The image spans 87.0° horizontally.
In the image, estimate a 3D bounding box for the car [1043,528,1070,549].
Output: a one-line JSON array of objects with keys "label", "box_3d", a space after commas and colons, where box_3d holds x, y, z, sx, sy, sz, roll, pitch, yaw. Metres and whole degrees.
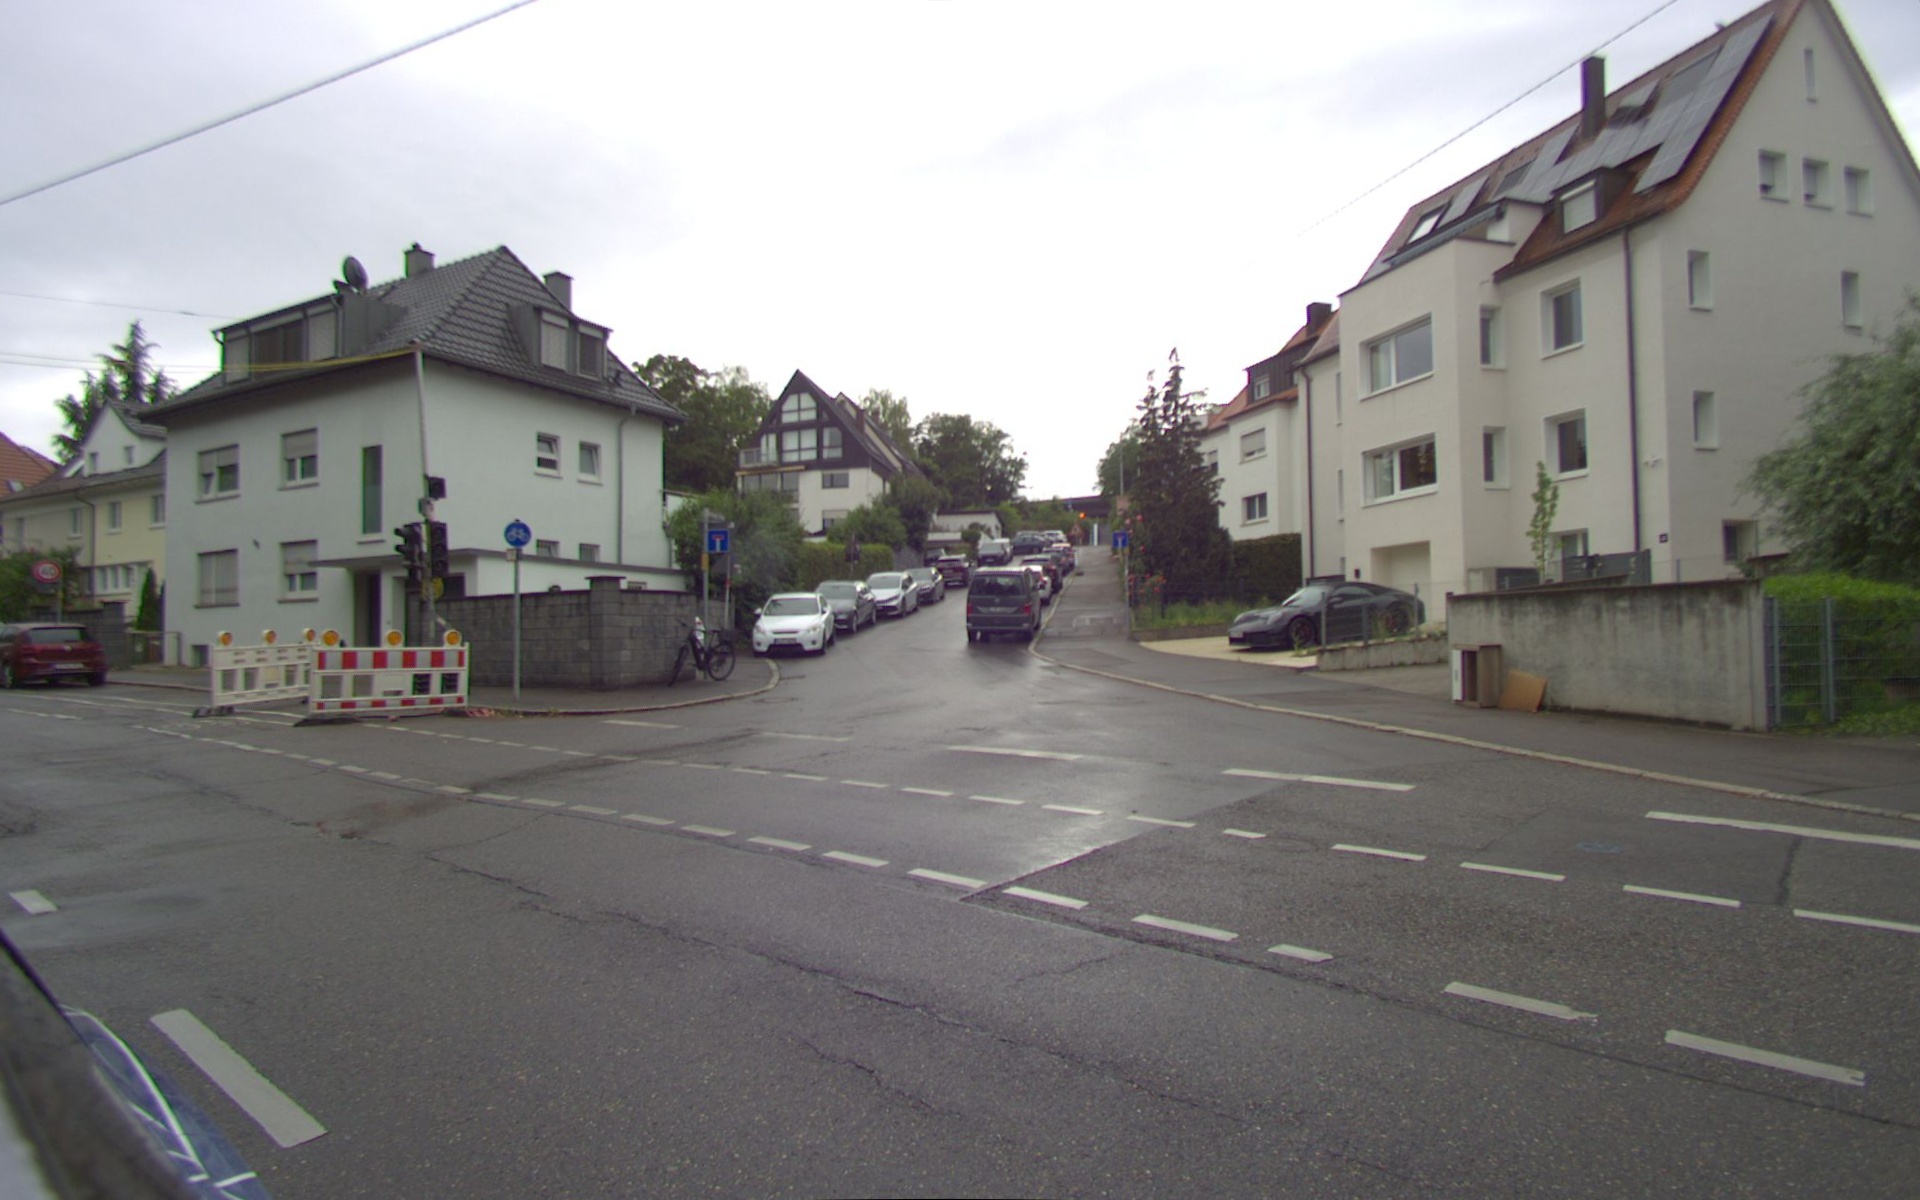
[{"label": "car", "box_3d": [9.969, -6.366, 104.585, 1.983, 2.028, 3.977, 0, 2, 18]}]

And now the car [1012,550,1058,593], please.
[{"label": "car", "box_3d": [3.410, -1.316, 45.378, 1.847, 1.758, 3.992, 0, 3, 8]}]

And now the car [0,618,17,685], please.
[{"label": "car", "box_3d": [-26.292, 1.311, 25.774, 4.378, 1.671, 1.745, -1, -3, 24]}]

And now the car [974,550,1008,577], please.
[{"label": "car", "box_3d": [2.129, -2.429, 67.988, 1.869, 1.733, 3.991, 0, 1, 8]}]

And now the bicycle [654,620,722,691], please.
[{"label": "bicycle", "box_3d": [-4.817, 0.957, 18.001, 0.459, 1.132, 1.511, 0, 1, 15]}]

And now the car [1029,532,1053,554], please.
[{"label": "car", "box_3d": [7.113, -4.969, 88.431, 1.869, 1.733, 3.991, 0, 1, 8]}]

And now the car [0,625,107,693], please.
[{"label": "car", "box_3d": [-21.545, 1.333, 23.304, 4.213, 1.451, 1.605, -2, -2, 30]}]

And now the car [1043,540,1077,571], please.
[{"label": "car", "box_3d": [5.811, -2.597, 58.467, 1.847, 1.758, 3.992, 0, 3, 8]}]

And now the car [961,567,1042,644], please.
[{"label": "car", "box_3d": [1.263, 0.080, 29.057, 1.976, 1.933, 3.992, 0, 3, 8]}]

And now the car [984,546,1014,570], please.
[{"label": "car", "box_3d": [2.873, -3.049, 74.453, 1.869, 1.733, 3.991, 0, 1, 8]}]

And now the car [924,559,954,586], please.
[{"label": "car", "box_3d": [-1.435, -1.868, 68.132, 1.863, 1.733, 4.003, 0, 1, -3]}]

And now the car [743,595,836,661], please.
[{"label": "car", "box_3d": [-4.286, 0.662, 25.995, 1.863, 1.477, 4.003, 0, 1, -3]}]

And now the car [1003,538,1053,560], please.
[{"label": "car", "box_3d": [5.647, -4.217, 83.738, 3.956, 1.733, 1.886, 0, 1, 10]}]

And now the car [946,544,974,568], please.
[{"label": "car", "box_3d": [-0.039, -3.191, 74.171, 1.863, 1.733, 4.003, 0, 1, -3]}]

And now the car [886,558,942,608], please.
[{"label": "car", "box_3d": [-1.873, -0.738, 42.751, 1.867, 2.007, 3.994, 0, 1, 5]}]

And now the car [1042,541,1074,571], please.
[{"label": "car", "box_3d": [6.114, -2.783, 62.948, 1.847, 1.758, 3.992, 0, 3, 8]}]

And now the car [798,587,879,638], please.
[{"label": "car", "box_3d": [-3.760, 0.340, 32.049, 1.867, 1.477, 3.996, 0, 1, 3]}]

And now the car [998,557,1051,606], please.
[{"label": "car", "box_3d": [2.617, -0.784, 40.096, 1.847, 1.758, 3.992, 0, 3, 8]}]

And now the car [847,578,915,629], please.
[{"label": "car", "box_3d": [-2.803, 0.083, 36.898, 1.867, 1.733, 3.994, 0, 1, 5]}]

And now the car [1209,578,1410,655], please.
[{"label": "car", "box_3d": [7.525, 0.332, 21.882, 3.754, 1.519, 1.740, -1, -1, -16]}]

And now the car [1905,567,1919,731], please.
[{"label": "car", "box_3d": [10.572, 0.379, 8.516, 3.934, 1.455, 1.844, -1, -1, -12]}]

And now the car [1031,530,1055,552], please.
[{"label": "car", "box_3d": [8.085, -5.689, 98.162, 1.977, 2.028, 3.989, 0, 1, 9]}]

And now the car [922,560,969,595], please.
[{"label": "car", "box_3d": [-0.681, -1.174, 52.075, 1.869, 1.733, 3.991, 0, 1, 8]}]
